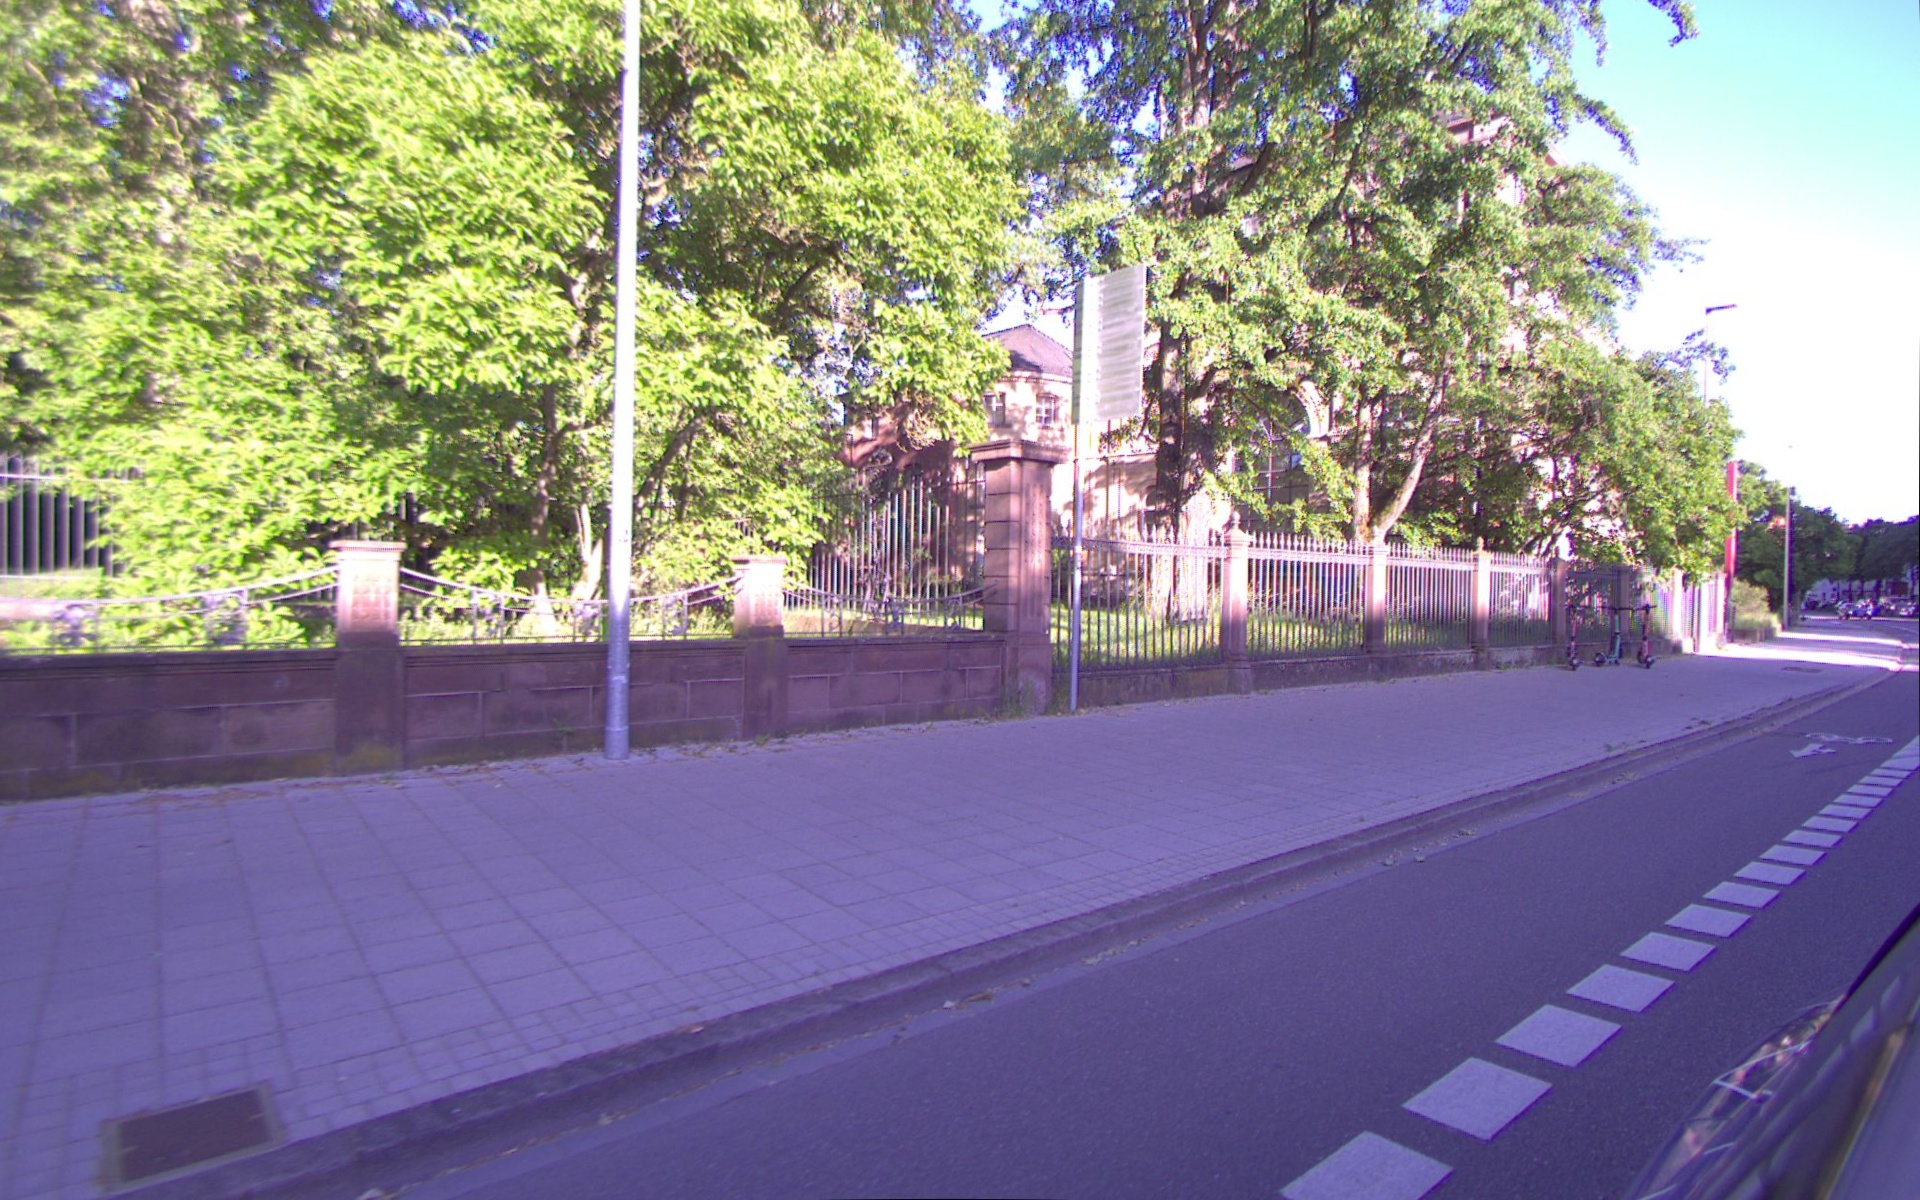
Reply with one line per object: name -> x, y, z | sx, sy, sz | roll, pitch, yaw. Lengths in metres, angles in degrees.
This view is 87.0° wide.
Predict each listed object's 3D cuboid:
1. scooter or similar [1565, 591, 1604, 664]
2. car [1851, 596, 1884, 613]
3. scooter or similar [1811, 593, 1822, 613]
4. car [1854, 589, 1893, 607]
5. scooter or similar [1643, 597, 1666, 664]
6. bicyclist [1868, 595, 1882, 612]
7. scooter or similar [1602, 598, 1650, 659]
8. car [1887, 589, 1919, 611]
scooter or similar -> 11.430, 0.477, 18.537 | 0.545, 1.258, 1.540 | 2, 2, 31
car -> 78.960, 0.392, 88.107 | 1.545, 1.311, 3.594 | 6, 4, 34
scooter or similar -> 58.026, 0.185, 68.556 | 0.555, 1.325, 1.805 | 2, 1, 40
car -> 93.939, -0.191, 104.159 | 1.981, 1.771, 4.696 | 2, 1, 30
scooter or similar -> 13.714, 0.583, 19.984 | 0.295, 1.255, 1.148 | 2, 2, 33
bicyclist -> 86.589, 0.316, 95.753 | 0.800, 1.628, 0.814 | 2, 1, 36
scooter or similar -> 12.938, 0.535, 19.656 | 0.481, 1.136, 1.314 | 3, 2, 45
car -> 89.475, 0.005, 95.500 | 2.059, 1.939, 4.976 | 2, 2, 32
